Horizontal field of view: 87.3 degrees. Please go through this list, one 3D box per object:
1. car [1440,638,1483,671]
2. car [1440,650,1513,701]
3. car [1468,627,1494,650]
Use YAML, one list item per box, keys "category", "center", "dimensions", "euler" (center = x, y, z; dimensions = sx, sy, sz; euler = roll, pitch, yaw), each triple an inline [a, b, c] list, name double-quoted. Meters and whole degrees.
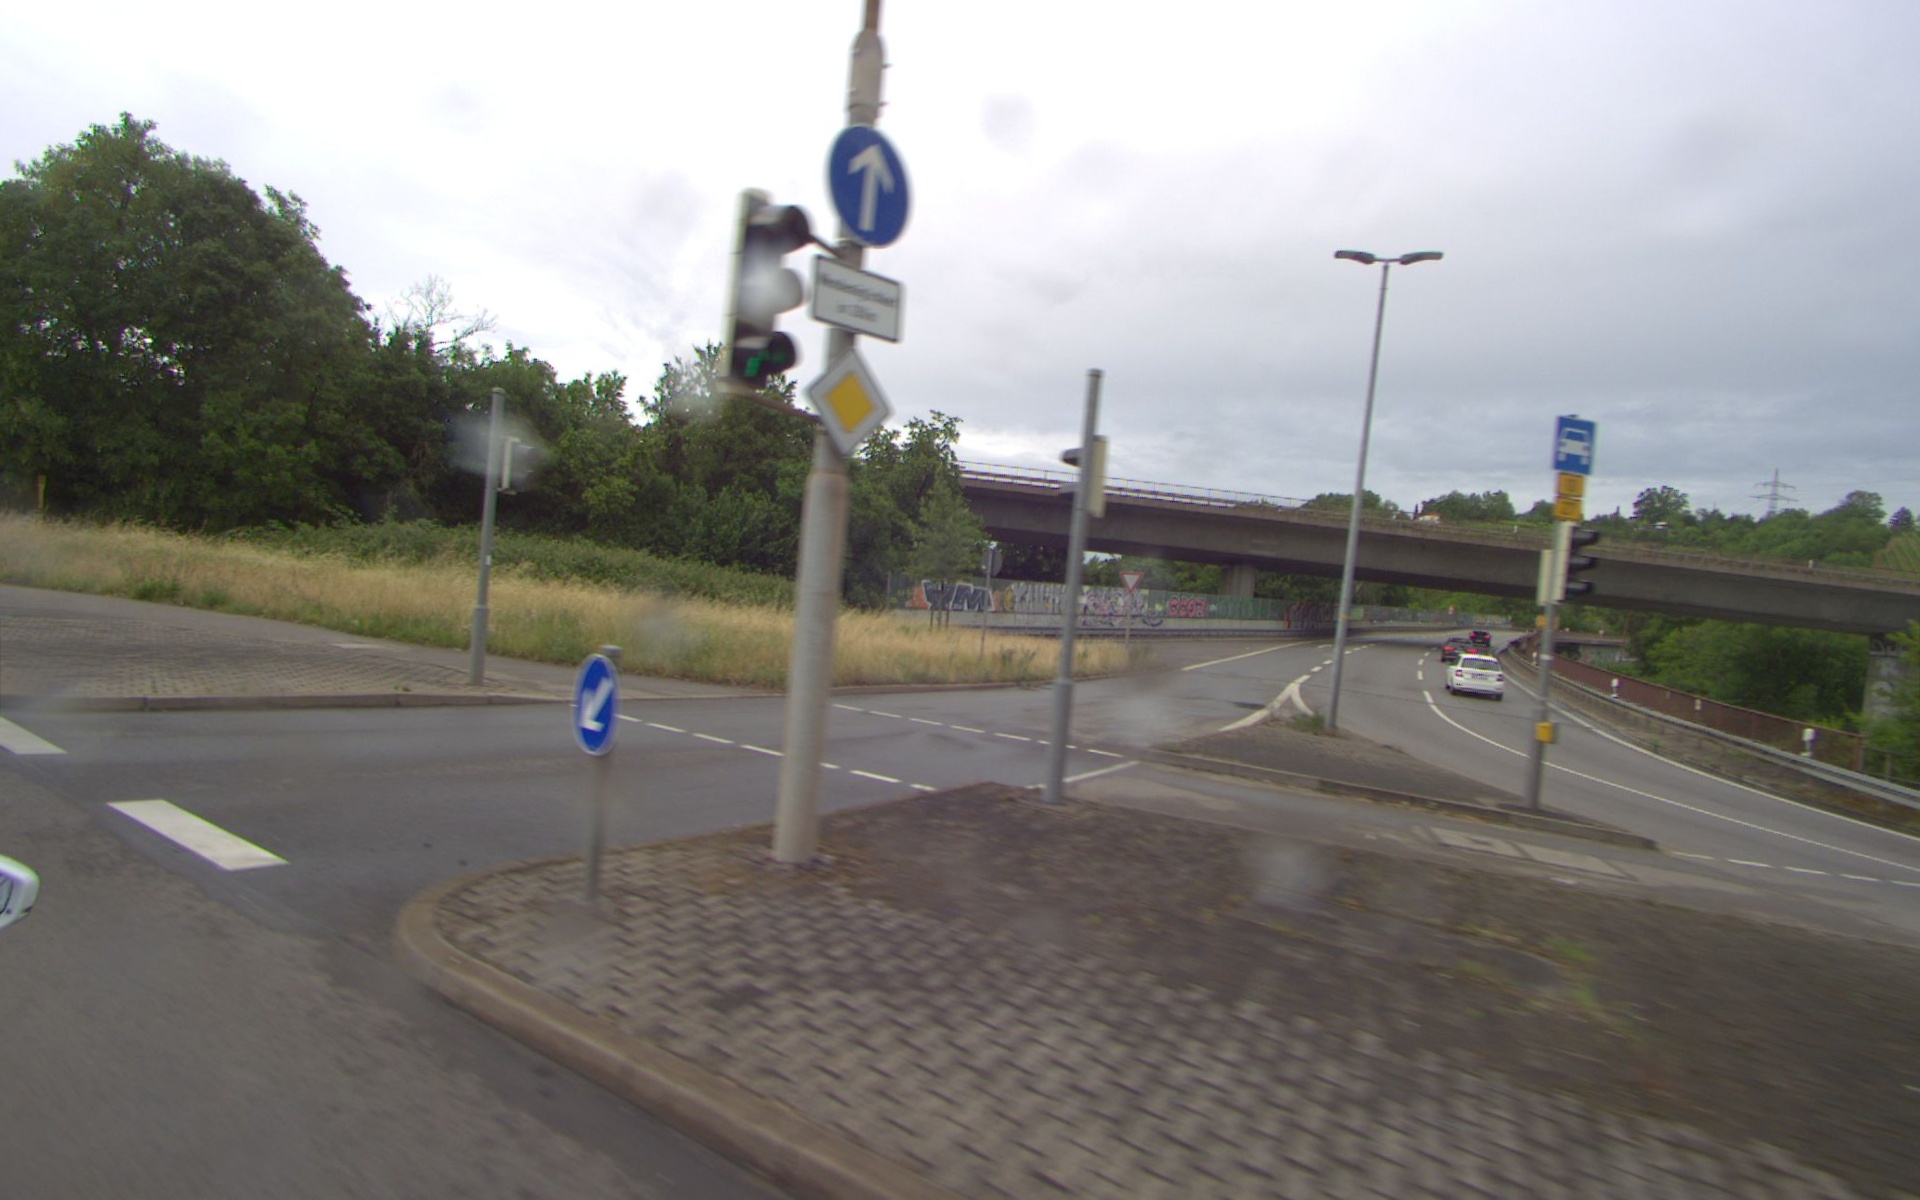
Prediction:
- category: "car"
  center: [28.534, 3.107, 57.196]
  dimensions: [1.879, 1.554, 3.994]
  euler: [7, 0, 29]
- category: "car"
  center: [18.564, 2.685, 36.306]
  dimensions: [1.720, 1.476, 3.669]
  euler: [7, 1, 20]
- category: "car"
  center: [48.091, 3.580, 92.847]
  dimensions: [1.841, 1.736, 3.994]
  euler: [7, 0, 29]
